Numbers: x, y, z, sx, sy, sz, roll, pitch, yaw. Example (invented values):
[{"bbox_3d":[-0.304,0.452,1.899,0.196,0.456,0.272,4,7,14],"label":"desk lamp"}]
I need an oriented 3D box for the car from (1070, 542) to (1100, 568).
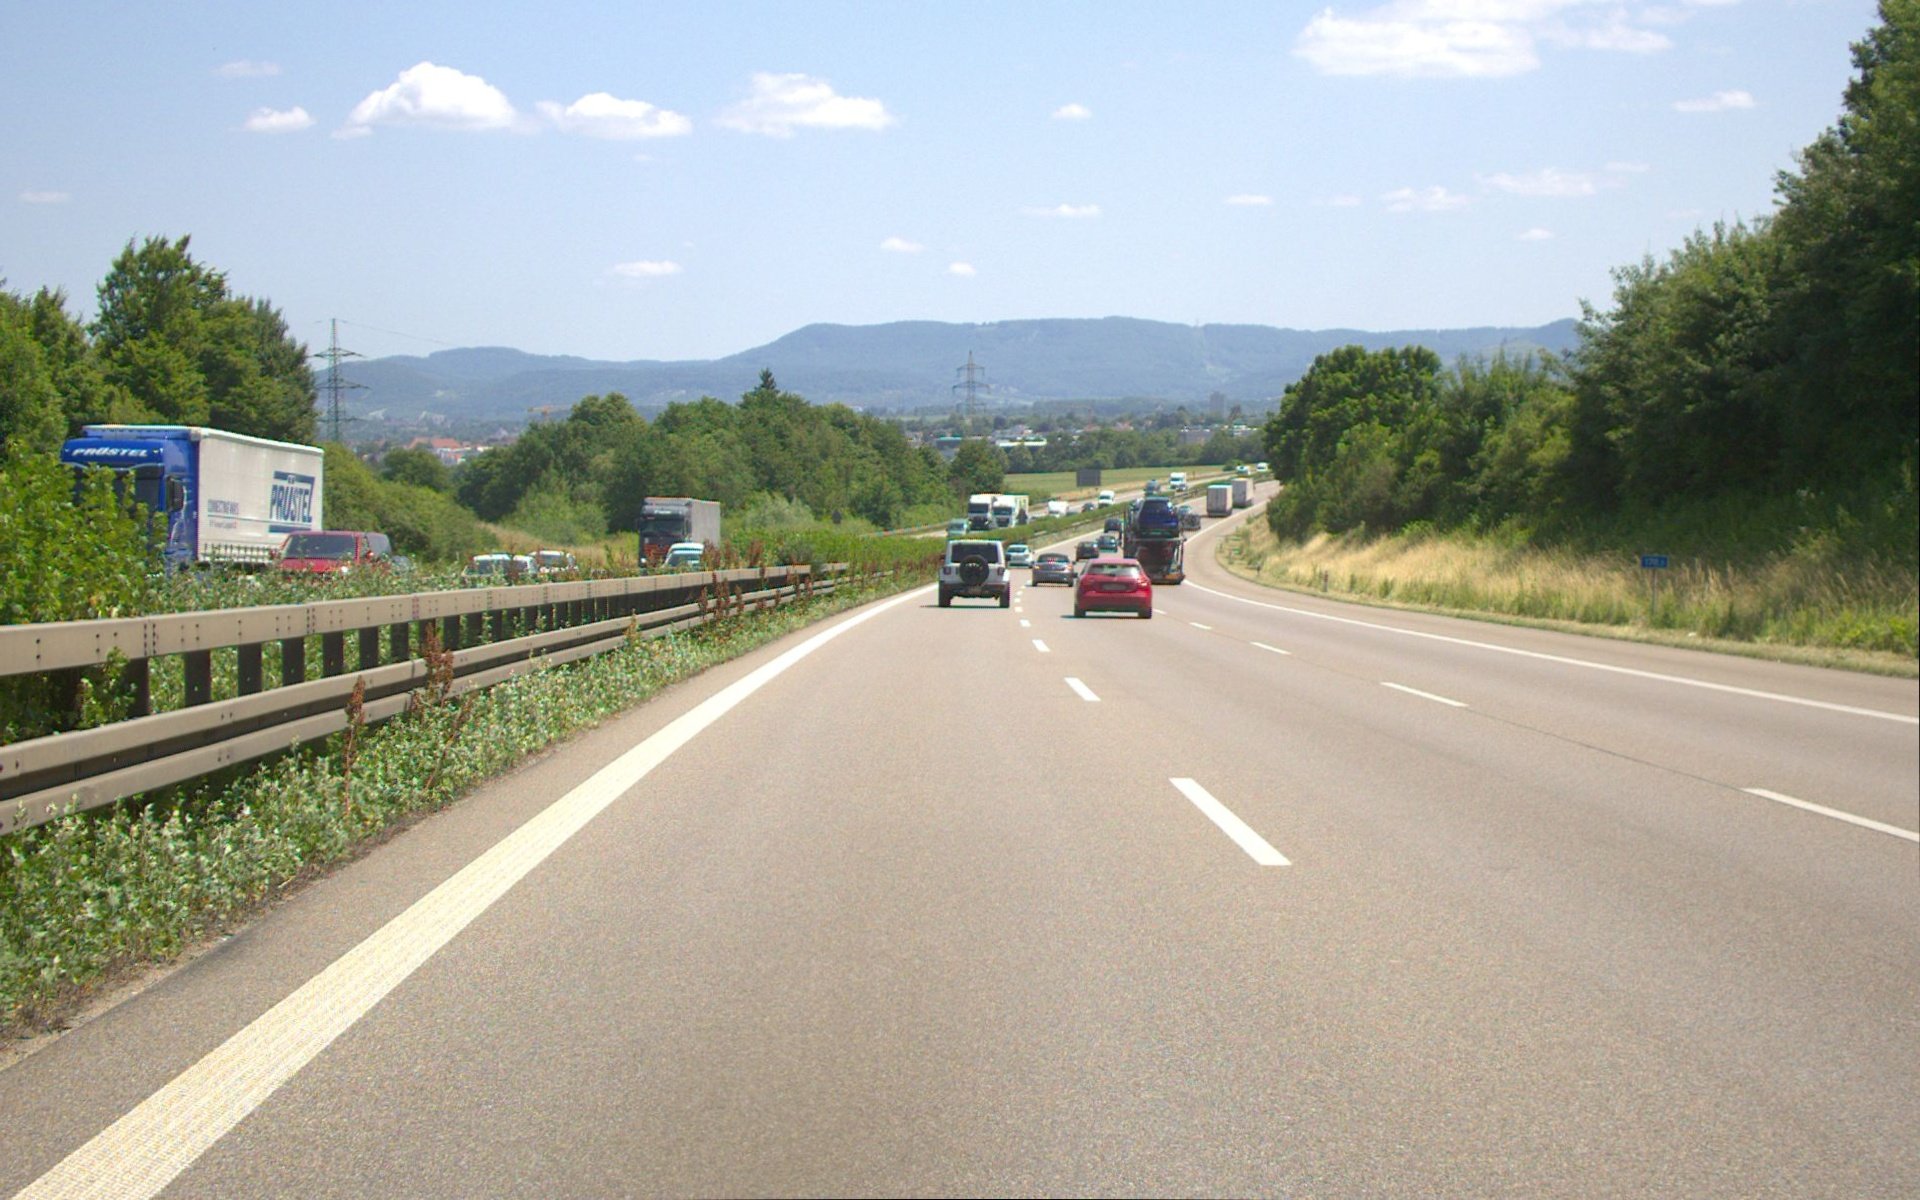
[{"bbox_3d":[8.768,-3.179,241.027,1.636,1.699,3.400,1,2,9],"label":"car"}]

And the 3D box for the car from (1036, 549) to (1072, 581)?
[{"bbox_3d":[4.036,-1.523,147.510,1.452,1.263,3.539,1,2,0],"label":"car"}]

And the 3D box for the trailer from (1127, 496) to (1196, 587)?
[{"bbox_3d":[9.519,-2.902,163.505,2.855,3.979,15.397,1,2,2],"label":"trailer"}]

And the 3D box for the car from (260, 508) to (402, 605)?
[{"bbox_3d":[-13.170,-0.948,72.304,1.860,1.874,5.825,1,2,0],"label":"car"}]

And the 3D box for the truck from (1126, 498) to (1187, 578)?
[{"bbox_3d":[9.735,-3.133,171.146,2.754,3.839,6.644,1,2,1],"label":"truck"}]

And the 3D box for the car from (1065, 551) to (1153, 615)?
[{"bbox_3d":[3.506,-0.418,81.566,1.686,1.374,3.949,1,2,-3],"label":"car"}]

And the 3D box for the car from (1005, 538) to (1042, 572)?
[{"bbox_3d":[3.890,-2.751,209.776,1.698,2.006,3.821,1,2,9],"label":"car"}]

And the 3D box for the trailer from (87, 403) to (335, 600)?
[{"bbox_3d":[-17.605,-2.401,81.996,2.634,4.239,14.678,1,2,0],"label":"trailer"}]

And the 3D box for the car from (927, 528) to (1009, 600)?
[{"bbox_3d":[0.183,-1.027,94.621,2.083,1.823,4.754,1,2,-2],"label":"car"}]

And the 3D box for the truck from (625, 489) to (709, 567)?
[{"bbox_3d":[-15.841,-3.919,187.237,2.975,4.000,16.829,1,1,0],"label":"truck"}]

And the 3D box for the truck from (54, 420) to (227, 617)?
[{"bbox_3d":[-17.700,-1.801,74.532,2.493,4.104,5.084,1,2,0],"label":"truck"}]
